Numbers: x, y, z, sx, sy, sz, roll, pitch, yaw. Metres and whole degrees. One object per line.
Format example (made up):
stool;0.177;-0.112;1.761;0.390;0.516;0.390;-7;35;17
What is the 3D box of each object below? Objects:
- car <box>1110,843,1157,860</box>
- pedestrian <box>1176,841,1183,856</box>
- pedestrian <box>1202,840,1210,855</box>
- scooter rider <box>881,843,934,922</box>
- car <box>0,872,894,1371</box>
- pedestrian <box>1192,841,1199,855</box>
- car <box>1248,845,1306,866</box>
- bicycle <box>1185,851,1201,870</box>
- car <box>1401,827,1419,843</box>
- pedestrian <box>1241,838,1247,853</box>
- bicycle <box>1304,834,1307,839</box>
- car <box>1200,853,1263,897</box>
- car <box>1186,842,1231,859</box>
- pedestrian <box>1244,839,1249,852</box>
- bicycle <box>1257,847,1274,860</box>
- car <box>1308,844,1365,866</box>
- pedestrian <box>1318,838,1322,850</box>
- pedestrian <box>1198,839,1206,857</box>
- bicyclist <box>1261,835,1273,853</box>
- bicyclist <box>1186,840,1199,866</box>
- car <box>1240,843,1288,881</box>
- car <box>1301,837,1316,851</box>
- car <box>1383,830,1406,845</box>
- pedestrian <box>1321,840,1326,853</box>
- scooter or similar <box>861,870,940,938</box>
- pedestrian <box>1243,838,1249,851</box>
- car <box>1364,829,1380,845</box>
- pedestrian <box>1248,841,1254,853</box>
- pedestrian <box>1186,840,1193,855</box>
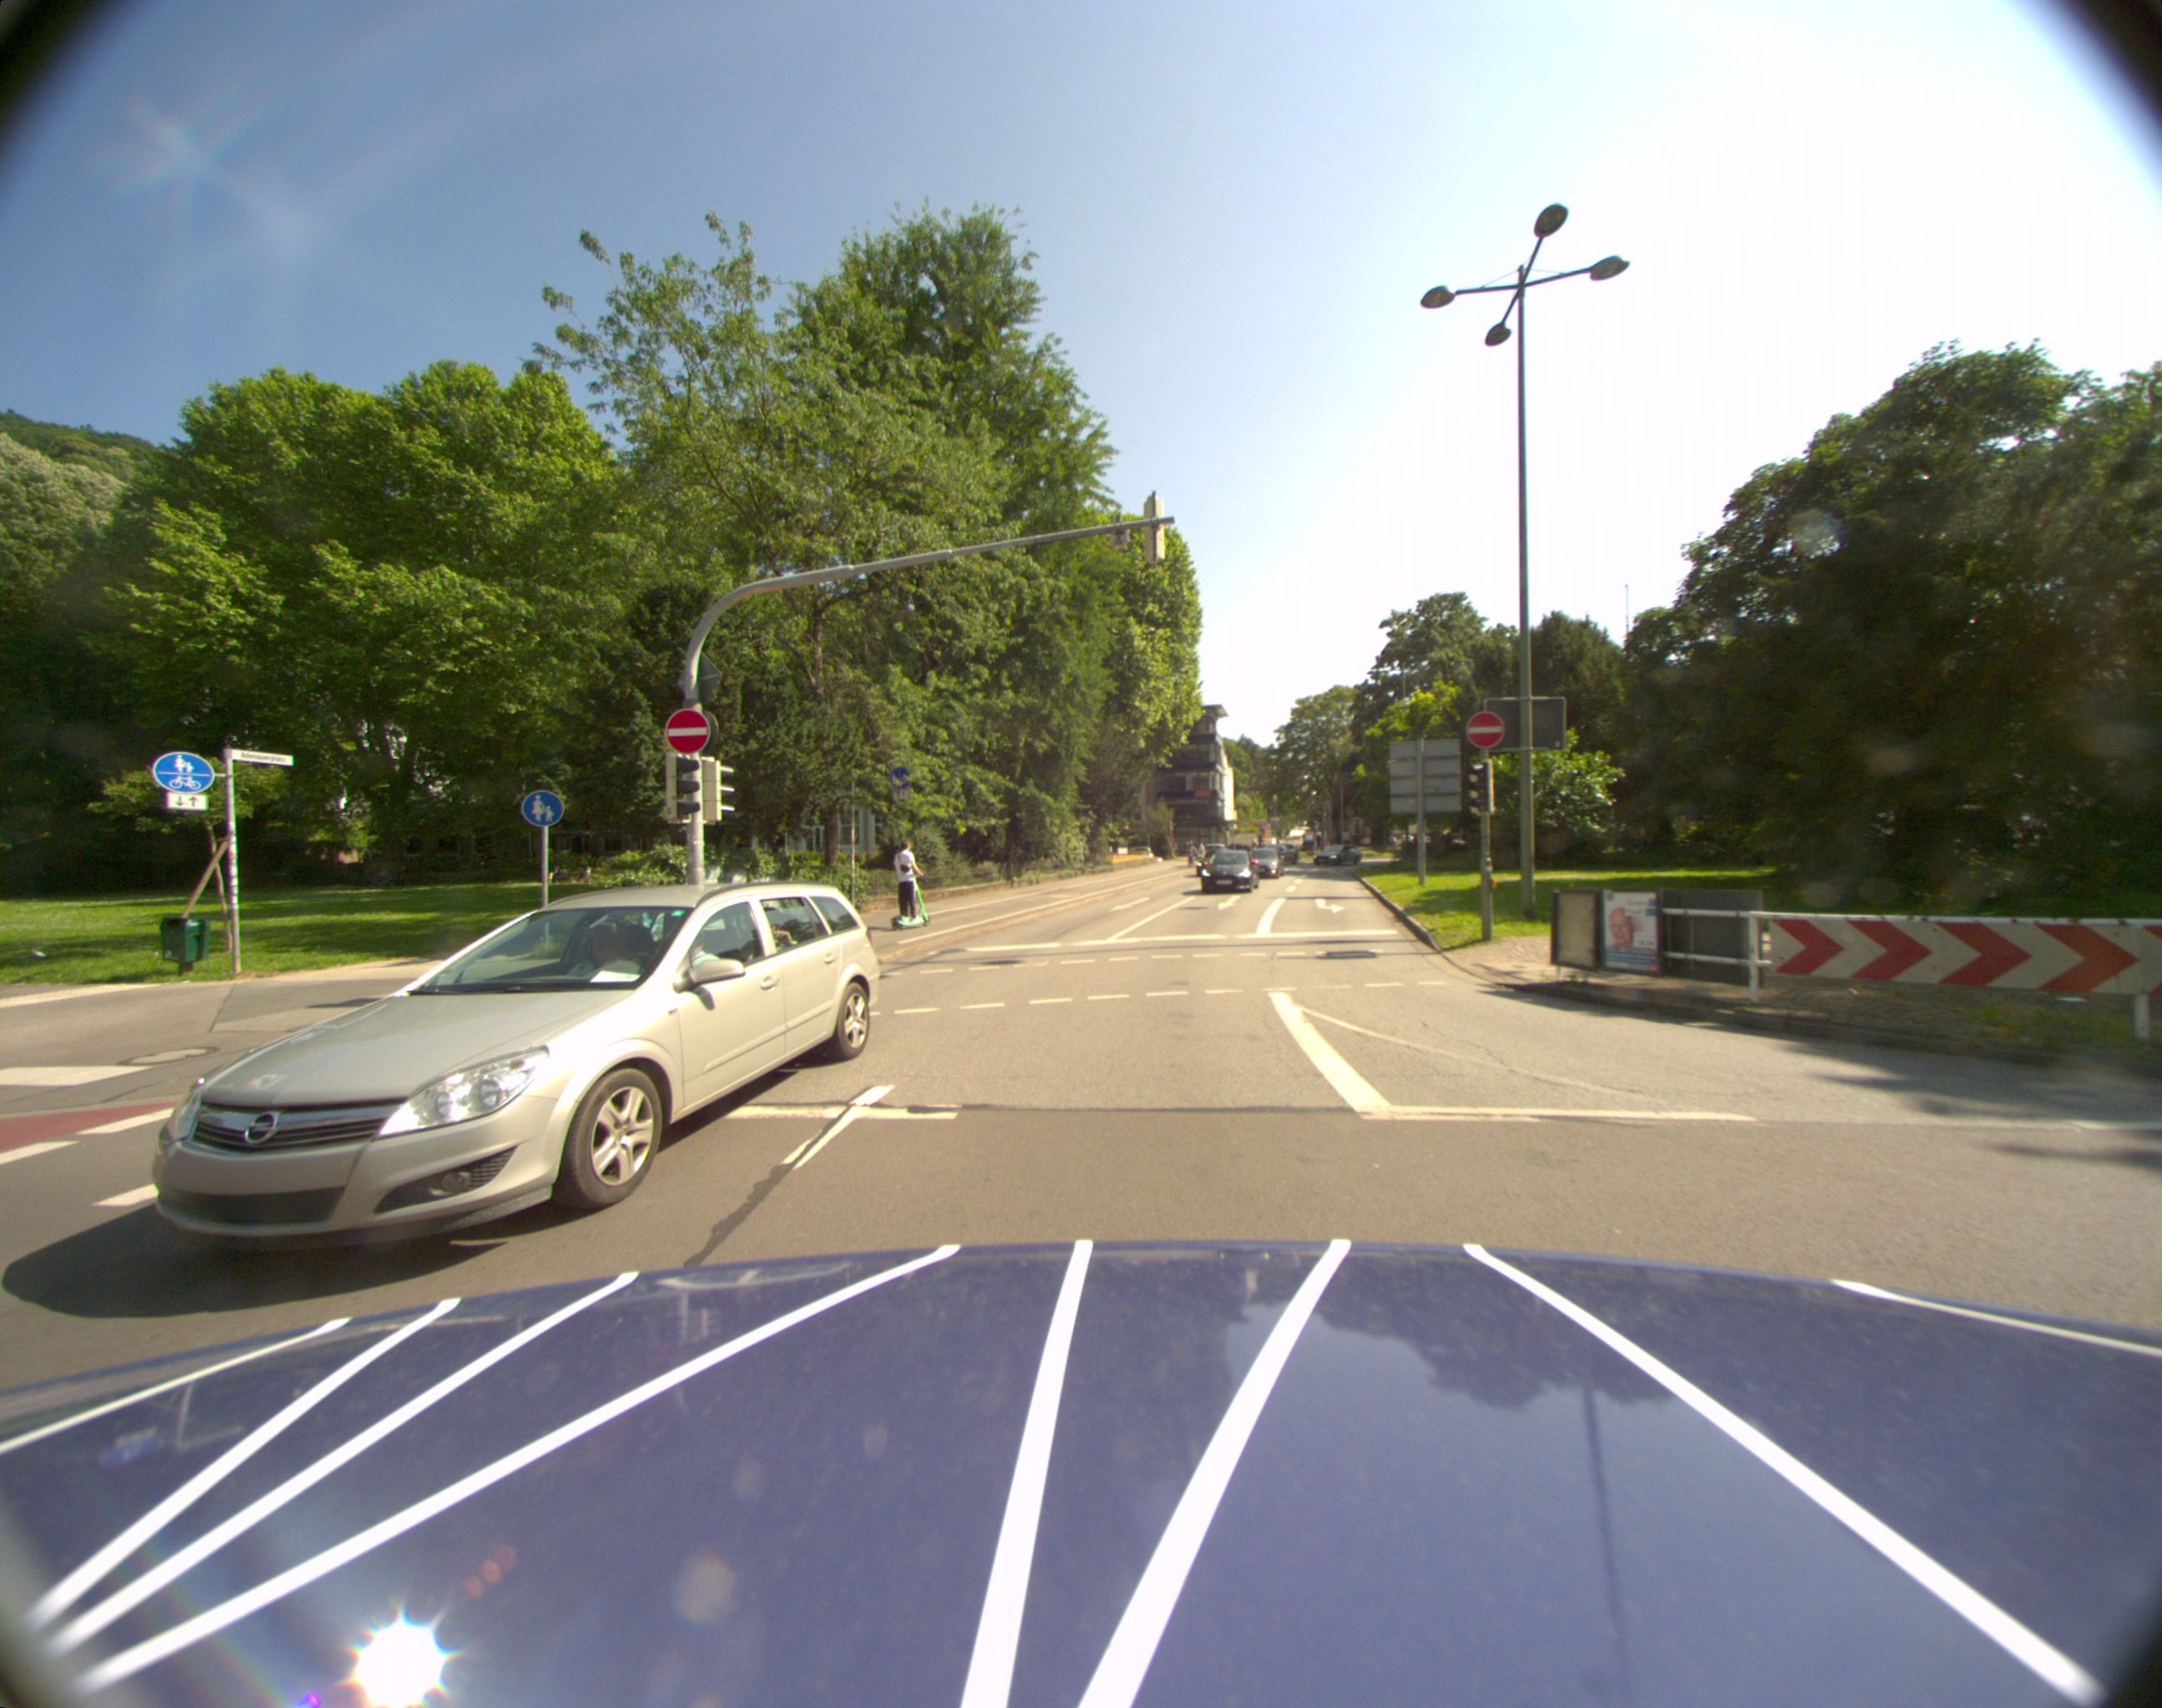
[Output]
car;5.222;-0.233;75.502;4.411;1.545;1.686;-2;1;11
pedestrian;11.410;-0.673;88.001;0.689;1.695;0.603;-1;1;13
pedestrian;14.308;-0.691;86.987;0.700;1.695;0.603;-1;1;17
scooter rider;-3.770;0.603;16.526;0.822;1.662;0.710;0;3;20
car;-2.830;0.964;4.800;1.711;1.513;4.408;-2;1;7
pedestrian;13.354;-0.719;88.634;0.603;1.695;0.691;-1;1;18
car;14.337;0.071;55.420;4.558;1.421;1.937;-2;2;-44
bicycle;7.258;0.427;49.296;0.758;1.114;2.003;0;3;16
car;43.149;-2.490;99.738;1.848;2.002;4.005;-1;1;20
pedestrian;19.511;-1.005;90.864;0.601;1.695;0.605;-1;1;22
bicycle;51.619;-3.964;174.836;0.566;1.154;1.902;-1;1;22
car;5.548;0.718;27.685;1.808;1.443;3.959;0;0;18
car;12.901;-0.319;77.006;4.412;1.545;1.686;-2;1;11
pedestrian;21.714;-1.137;99.633;0.601;1.695;0.605;-1;1;17
bicycle;16.340;-0.026;67.251;0.709;1.048;2.211;0;2;34
car;18.056;0.063;53.601;4.558;1.421;1.937;-2;2;-45
pedestrian;35.028;-1.485;111.371;0.601;1.695;0.605;-1;1;17
pedestrian;11.361;-0.544;71.309;0.710;1.663;0.535;-1;2;14
bicyclist;16.454;-0.873;67.214;0.709;1.604;0.733;0;2;34
bicyclist;7.268;-0.059;49.456;0.765;1.627;0.944;0;2;15
car;9.163;0.348;37.820;1.887;1.675;4.146;1;3;20
car;30.361;-1.366;101.284;1.848;1.777;4.004;-1;1;16
car;36.939;-1.949;89.618;1.848;1.652;4.003;-1;1;14
pedestrian;32.269;-1.015;101.036;0.601;1.695;0.605;-1;1;16
scooter or similar;-3.835;1.036;16.327;0.819;1.291;1.698;0;2;20
pedestrian;21.031;-1.243;96.964;0.601;1.695;0.605;-1;1;17
car;38.147;-2.220;99.709;1.848;2.002;4.005;-1;1;20
pedestrian;23.248;-1.003;103.805;0.601;1.587;0.605;0;1;40
pedestrian;12.440;-0.694;87.285;0.652;1.695;0.646;-2;2;12
